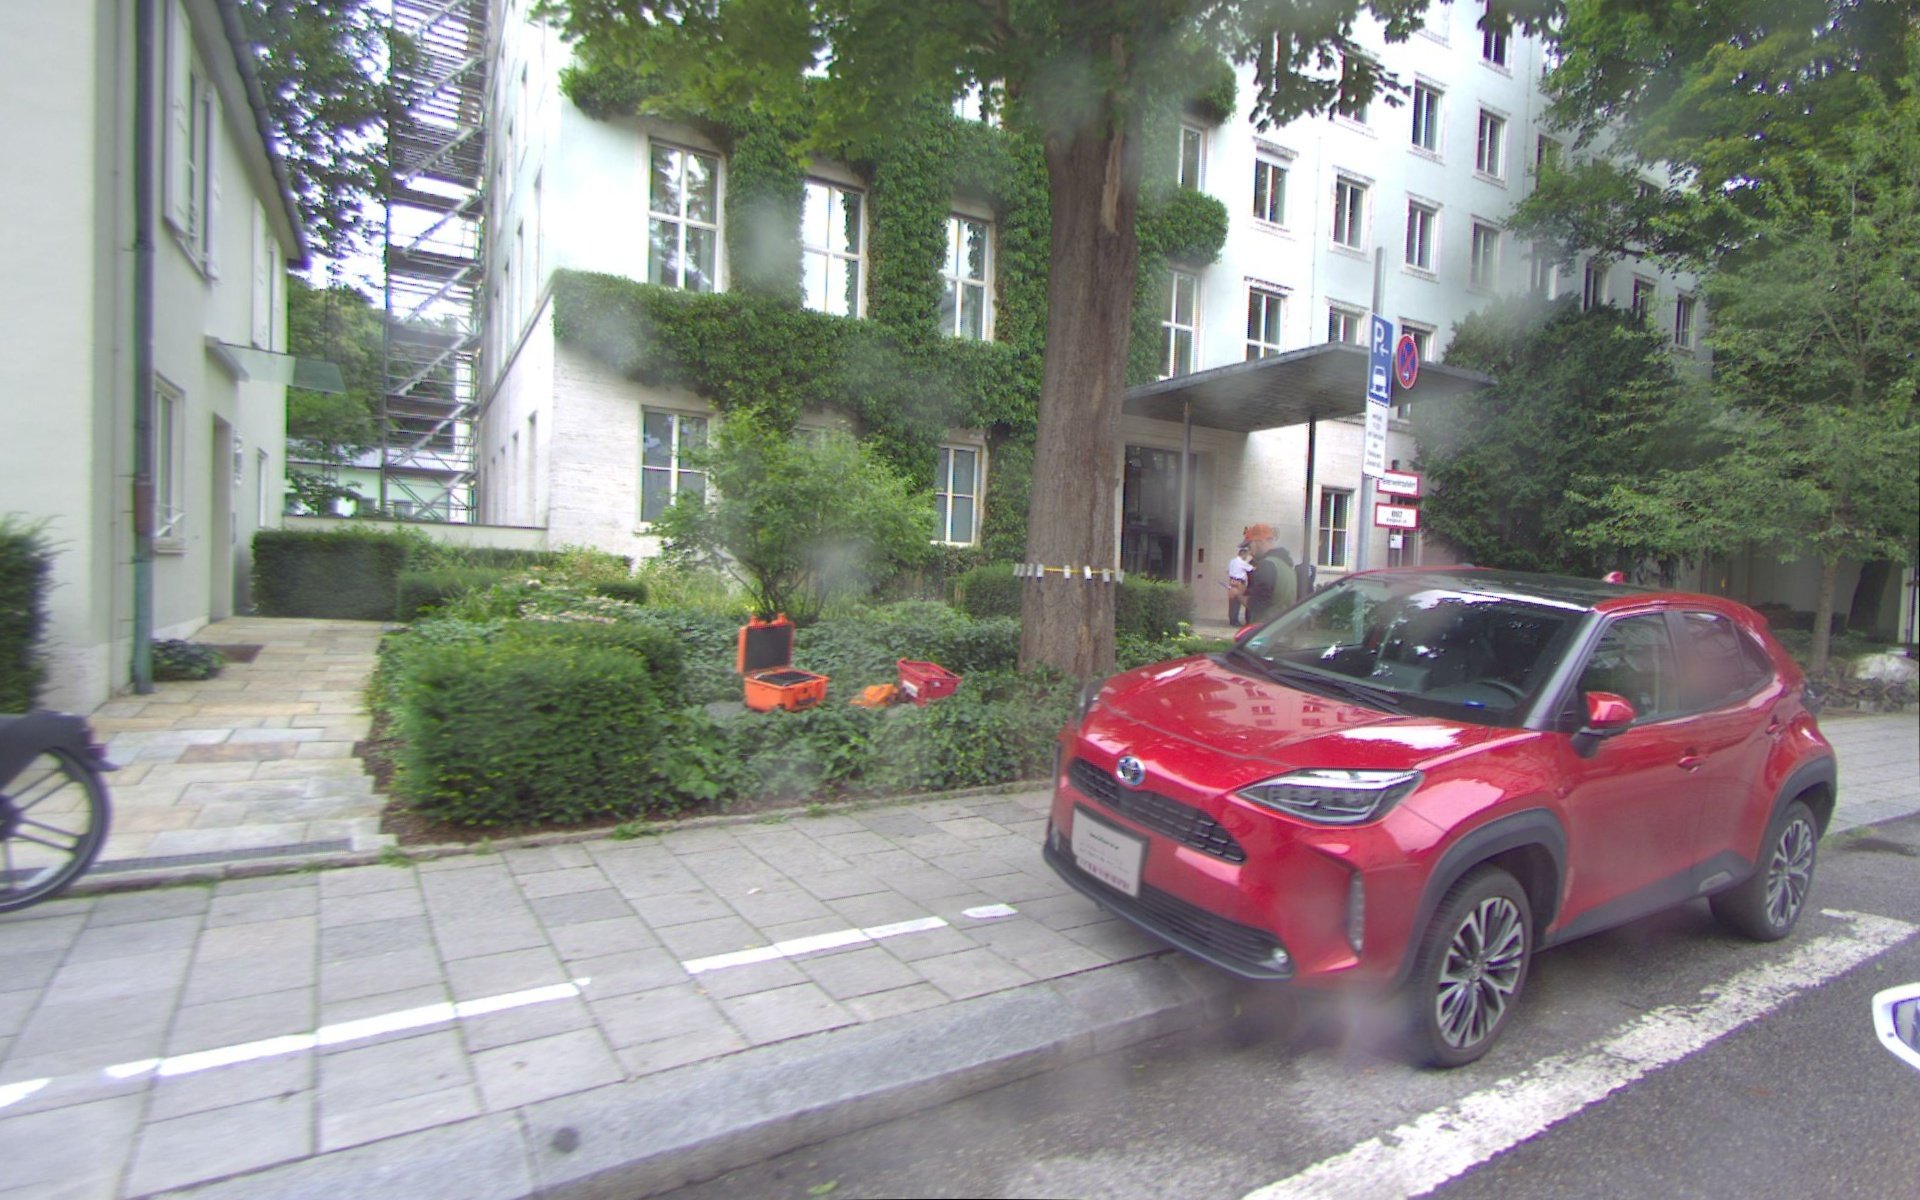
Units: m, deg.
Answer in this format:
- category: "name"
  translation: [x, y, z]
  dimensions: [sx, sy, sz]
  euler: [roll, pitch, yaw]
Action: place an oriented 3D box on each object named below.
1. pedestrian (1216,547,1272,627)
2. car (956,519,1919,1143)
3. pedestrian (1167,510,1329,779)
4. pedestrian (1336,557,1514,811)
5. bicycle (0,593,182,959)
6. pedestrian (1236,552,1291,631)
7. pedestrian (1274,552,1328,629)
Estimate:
- category: "pedestrian"
  translation: [6.432, -0.300, 22.790]
  dimensions: [0.744, 1.776, 0.893]
  euler: [1, 2, -33]
- category: "car"
  translation: [2.390, 0.591, 4.583]
  dimensions: [4.479, 1.612, 1.876]
  euler: [2, 3, -33]
- category: "pedestrian"
  translation: [2.138, 0.303, 7.498]
  dimensions: [0.788, 1.877, 0.708]
  euler: [2, 3, -32]
- category: "pedestrian"
  translation: [3.120, 0.523, 6.760]
  dimensions: [0.745, 1.569, 0.708]
  euler: [1, 4, -36]
- category: "bicycle"
  translation: [-3.799, 0.545, 3.163]
  dimensions: [2.020, 1.145, 0.647]
  euler: [1, 1, -26]
- category: "pedestrian"
  translation: [7.102, -0.203, 23.521]
  dimensions: [0.892, 1.776, 0.745]
  euler: [2, 1, -35]
- category: "pedestrian"
  translation: [8.158, -0.222, 24.021]
  dimensions: [0.892, 1.776, 0.745]
  euler: [2, 1, -35]
